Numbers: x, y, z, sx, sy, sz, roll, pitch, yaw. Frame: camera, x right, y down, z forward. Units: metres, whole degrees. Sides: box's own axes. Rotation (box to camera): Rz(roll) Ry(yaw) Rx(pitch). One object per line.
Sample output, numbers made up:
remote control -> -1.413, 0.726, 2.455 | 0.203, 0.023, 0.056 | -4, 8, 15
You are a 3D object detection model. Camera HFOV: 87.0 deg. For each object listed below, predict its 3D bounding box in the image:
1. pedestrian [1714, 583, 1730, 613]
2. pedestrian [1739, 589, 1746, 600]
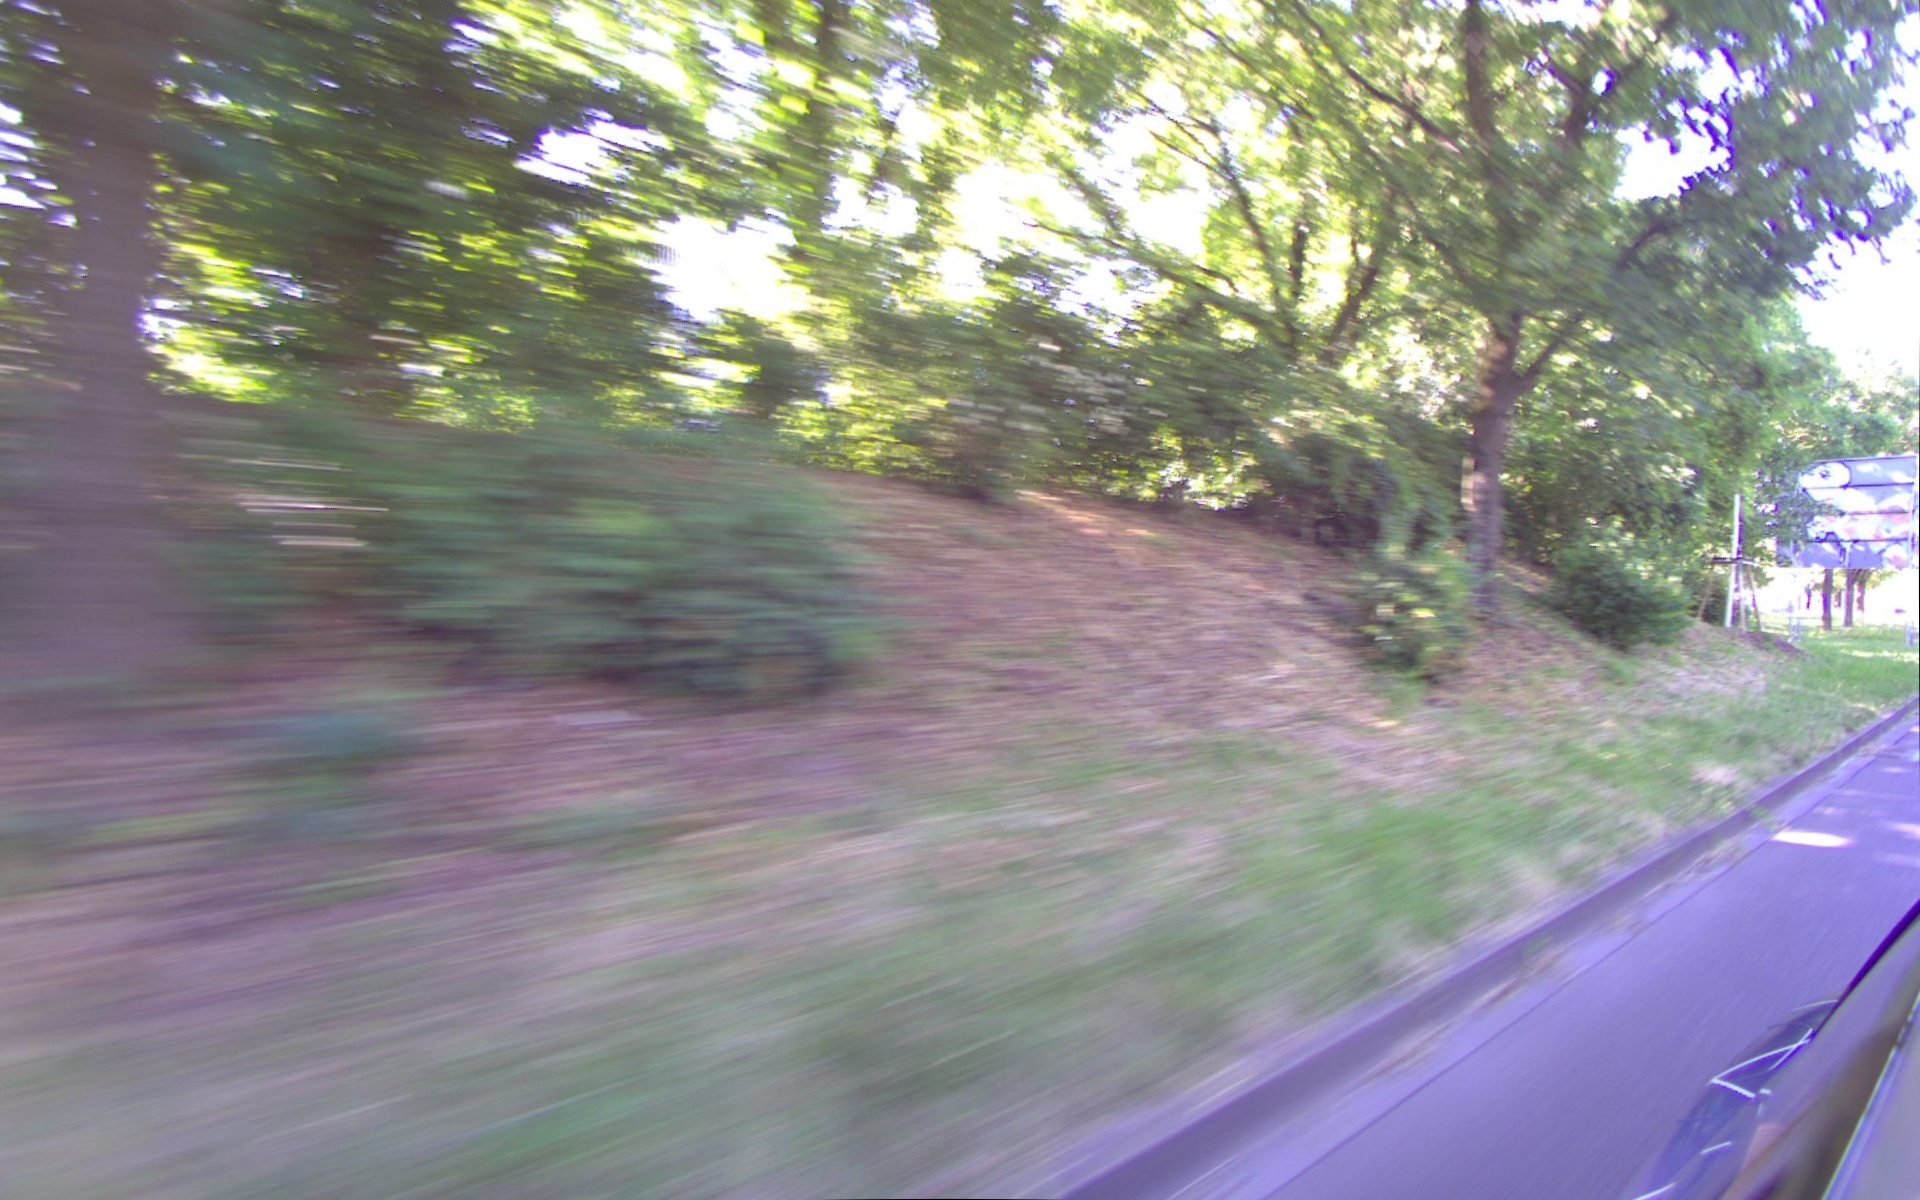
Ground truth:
pedestrian -> 46.954, -0.155, 62.376 | 0.715, 1.826, 0.782 | 1, 0, 42
pedestrian -> 121.079, -0.806, 156.652 | 0.727, 1.718, 0.727 | 1, 0, 32
